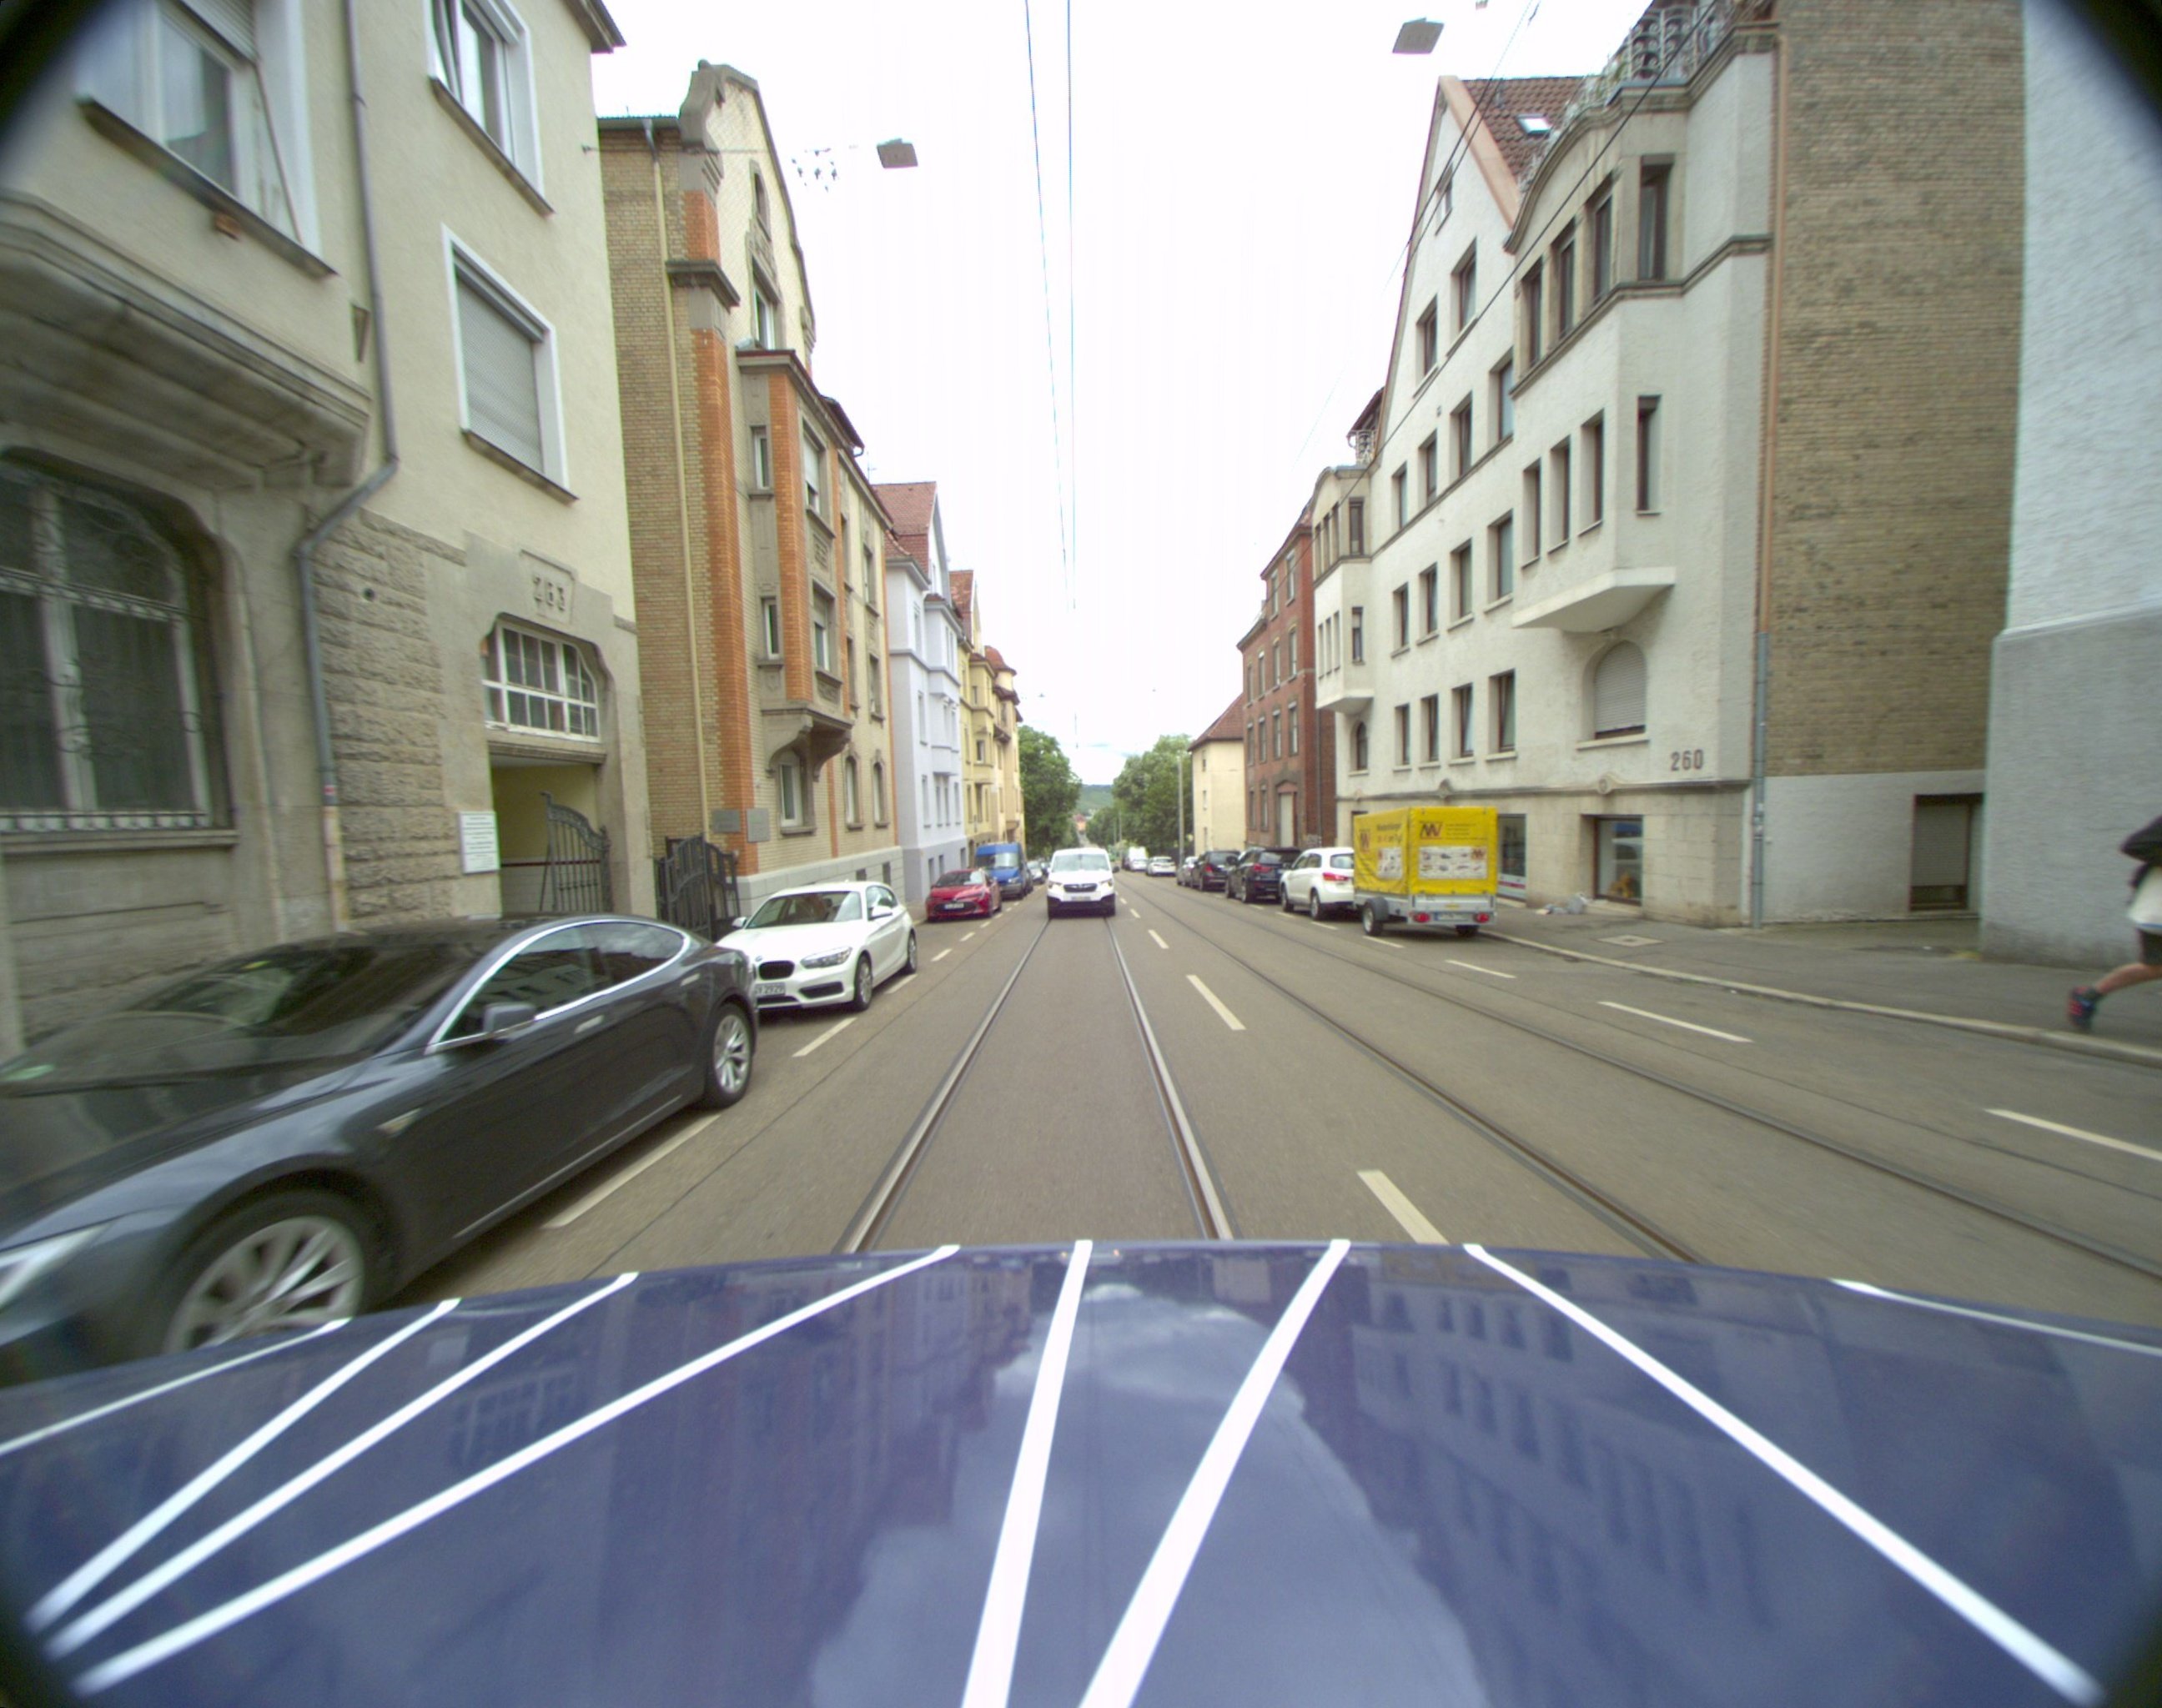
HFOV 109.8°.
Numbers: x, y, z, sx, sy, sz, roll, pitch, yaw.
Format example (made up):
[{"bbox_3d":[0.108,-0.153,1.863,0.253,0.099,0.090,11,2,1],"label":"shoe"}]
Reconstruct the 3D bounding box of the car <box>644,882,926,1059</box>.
[{"bbox_3d":[-3.266,1.190,9.411,1.754,1.382,4.307,-4,0,-1],"label":"car"}]

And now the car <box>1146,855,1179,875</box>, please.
[{"bbox_3d":[6.010,0.781,56.546,1.832,1.420,4.627,1,0,-2],"label":"car"}]

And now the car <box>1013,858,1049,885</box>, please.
[{"bbox_3d":[-3.179,1.118,49.015,1.832,1.510,4.028,-4,0,1],"label":"car"}]

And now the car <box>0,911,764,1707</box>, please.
[{"bbox_3d":[-3.278,1.193,3.306,1.784,1.382,4.691,-4,0,-1],"label":"car"}]

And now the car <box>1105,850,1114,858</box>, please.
[{"bbox_3d":[6.659,-0.022,179.524,1.901,1.935,4.290,0,1,0],"label":"car"}]

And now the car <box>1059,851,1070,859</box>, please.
[{"bbox_3d":[-3.328,0.106,153.364,1.863,1.434,4.388,-5,0,1],"label":"car"}]

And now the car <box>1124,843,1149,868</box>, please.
[{"bbox_3d":[6.175,0.148,84.784,2.164,2.591,6.218,1,0,-1],"label":"car"}]

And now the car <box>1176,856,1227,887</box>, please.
[{"bbox_3d":[5.859,0.817,37.367,1.832,1.420,4.839,0,0,1],"label":"car"}]

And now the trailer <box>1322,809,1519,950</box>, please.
[{"bbox_3d":[5.781,0.389,13.535,1.753,2.143,4.071,0,0,1],"label":"trailer"}]

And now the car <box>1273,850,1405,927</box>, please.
[{"bbox_3d":[5.830,0.711,17.714,1.701,1.584,4.268,0,0,1],"label":"car"}]

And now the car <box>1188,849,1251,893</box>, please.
[{"bbox_3d":[5.759,0.663,32.179,1.832,1.708,4.913,0,0,1],"label":"car"}]

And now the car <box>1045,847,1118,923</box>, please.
[{"bbox_3d":[0.072,0.763,21.287,1.759,1.824,4.448,-2,0,2],"label":"car"}]

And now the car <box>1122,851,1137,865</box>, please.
[{"bbox_3d":[6.248,0.491,99.112,1.766,1.765,4.668,1,1,2],"label":"car"}]

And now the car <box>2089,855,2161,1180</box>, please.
[{"bbox_3d":[5.688,0.747,2.131,1.701,1.460,3.023,0,1,1],"label":"car"}]

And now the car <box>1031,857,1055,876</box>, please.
[{"bbox_3d":[-3.164,1.047,64.485,1.699,1.396,3.667,-4,0,1],"label":"car"}]

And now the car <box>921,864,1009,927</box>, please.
[{"bbox_3d":[-3.294,1.140,22.474,1.784,1.466,4.589,-4,0,0],"label":"car"}]

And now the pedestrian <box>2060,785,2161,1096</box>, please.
[{"bbox_3d":[6.903,0.528,4.654,0.590,1.895,0.811,-7,1,0],"label":"pedestrian"}]

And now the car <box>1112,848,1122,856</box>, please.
[{"bbox_3d":[7.544,-0.438,159.912,1.856,1.532,3.948,-2,0,0],"label":"car"}]

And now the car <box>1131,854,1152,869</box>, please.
[{"bbox_3d":[5.906,0.723,74.662,1.723,1.394,4.313,1,0,0],"label":"car"}]

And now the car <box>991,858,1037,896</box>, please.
[{"bbox_3d":[-3.195,1.060,37.052,1.784,1.522,4.191,-6,0,0],"label":"car"}]

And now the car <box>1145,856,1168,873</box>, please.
[{"bbox_3d":[6.095,0.836,61.563,1.604,1.360,3.807,1,0,1],"label":"car"}]

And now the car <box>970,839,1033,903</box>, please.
[{"bbox_3d":[-3.237,0.620,31.874,1.998,2.363,5.055,-2,1,0],"label":"car"}]

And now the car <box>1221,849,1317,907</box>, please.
[{"bbox_3d":[5.751,0.683,23.870,1.878,1.654,4.892,0,0,1],"label":"car"}]
